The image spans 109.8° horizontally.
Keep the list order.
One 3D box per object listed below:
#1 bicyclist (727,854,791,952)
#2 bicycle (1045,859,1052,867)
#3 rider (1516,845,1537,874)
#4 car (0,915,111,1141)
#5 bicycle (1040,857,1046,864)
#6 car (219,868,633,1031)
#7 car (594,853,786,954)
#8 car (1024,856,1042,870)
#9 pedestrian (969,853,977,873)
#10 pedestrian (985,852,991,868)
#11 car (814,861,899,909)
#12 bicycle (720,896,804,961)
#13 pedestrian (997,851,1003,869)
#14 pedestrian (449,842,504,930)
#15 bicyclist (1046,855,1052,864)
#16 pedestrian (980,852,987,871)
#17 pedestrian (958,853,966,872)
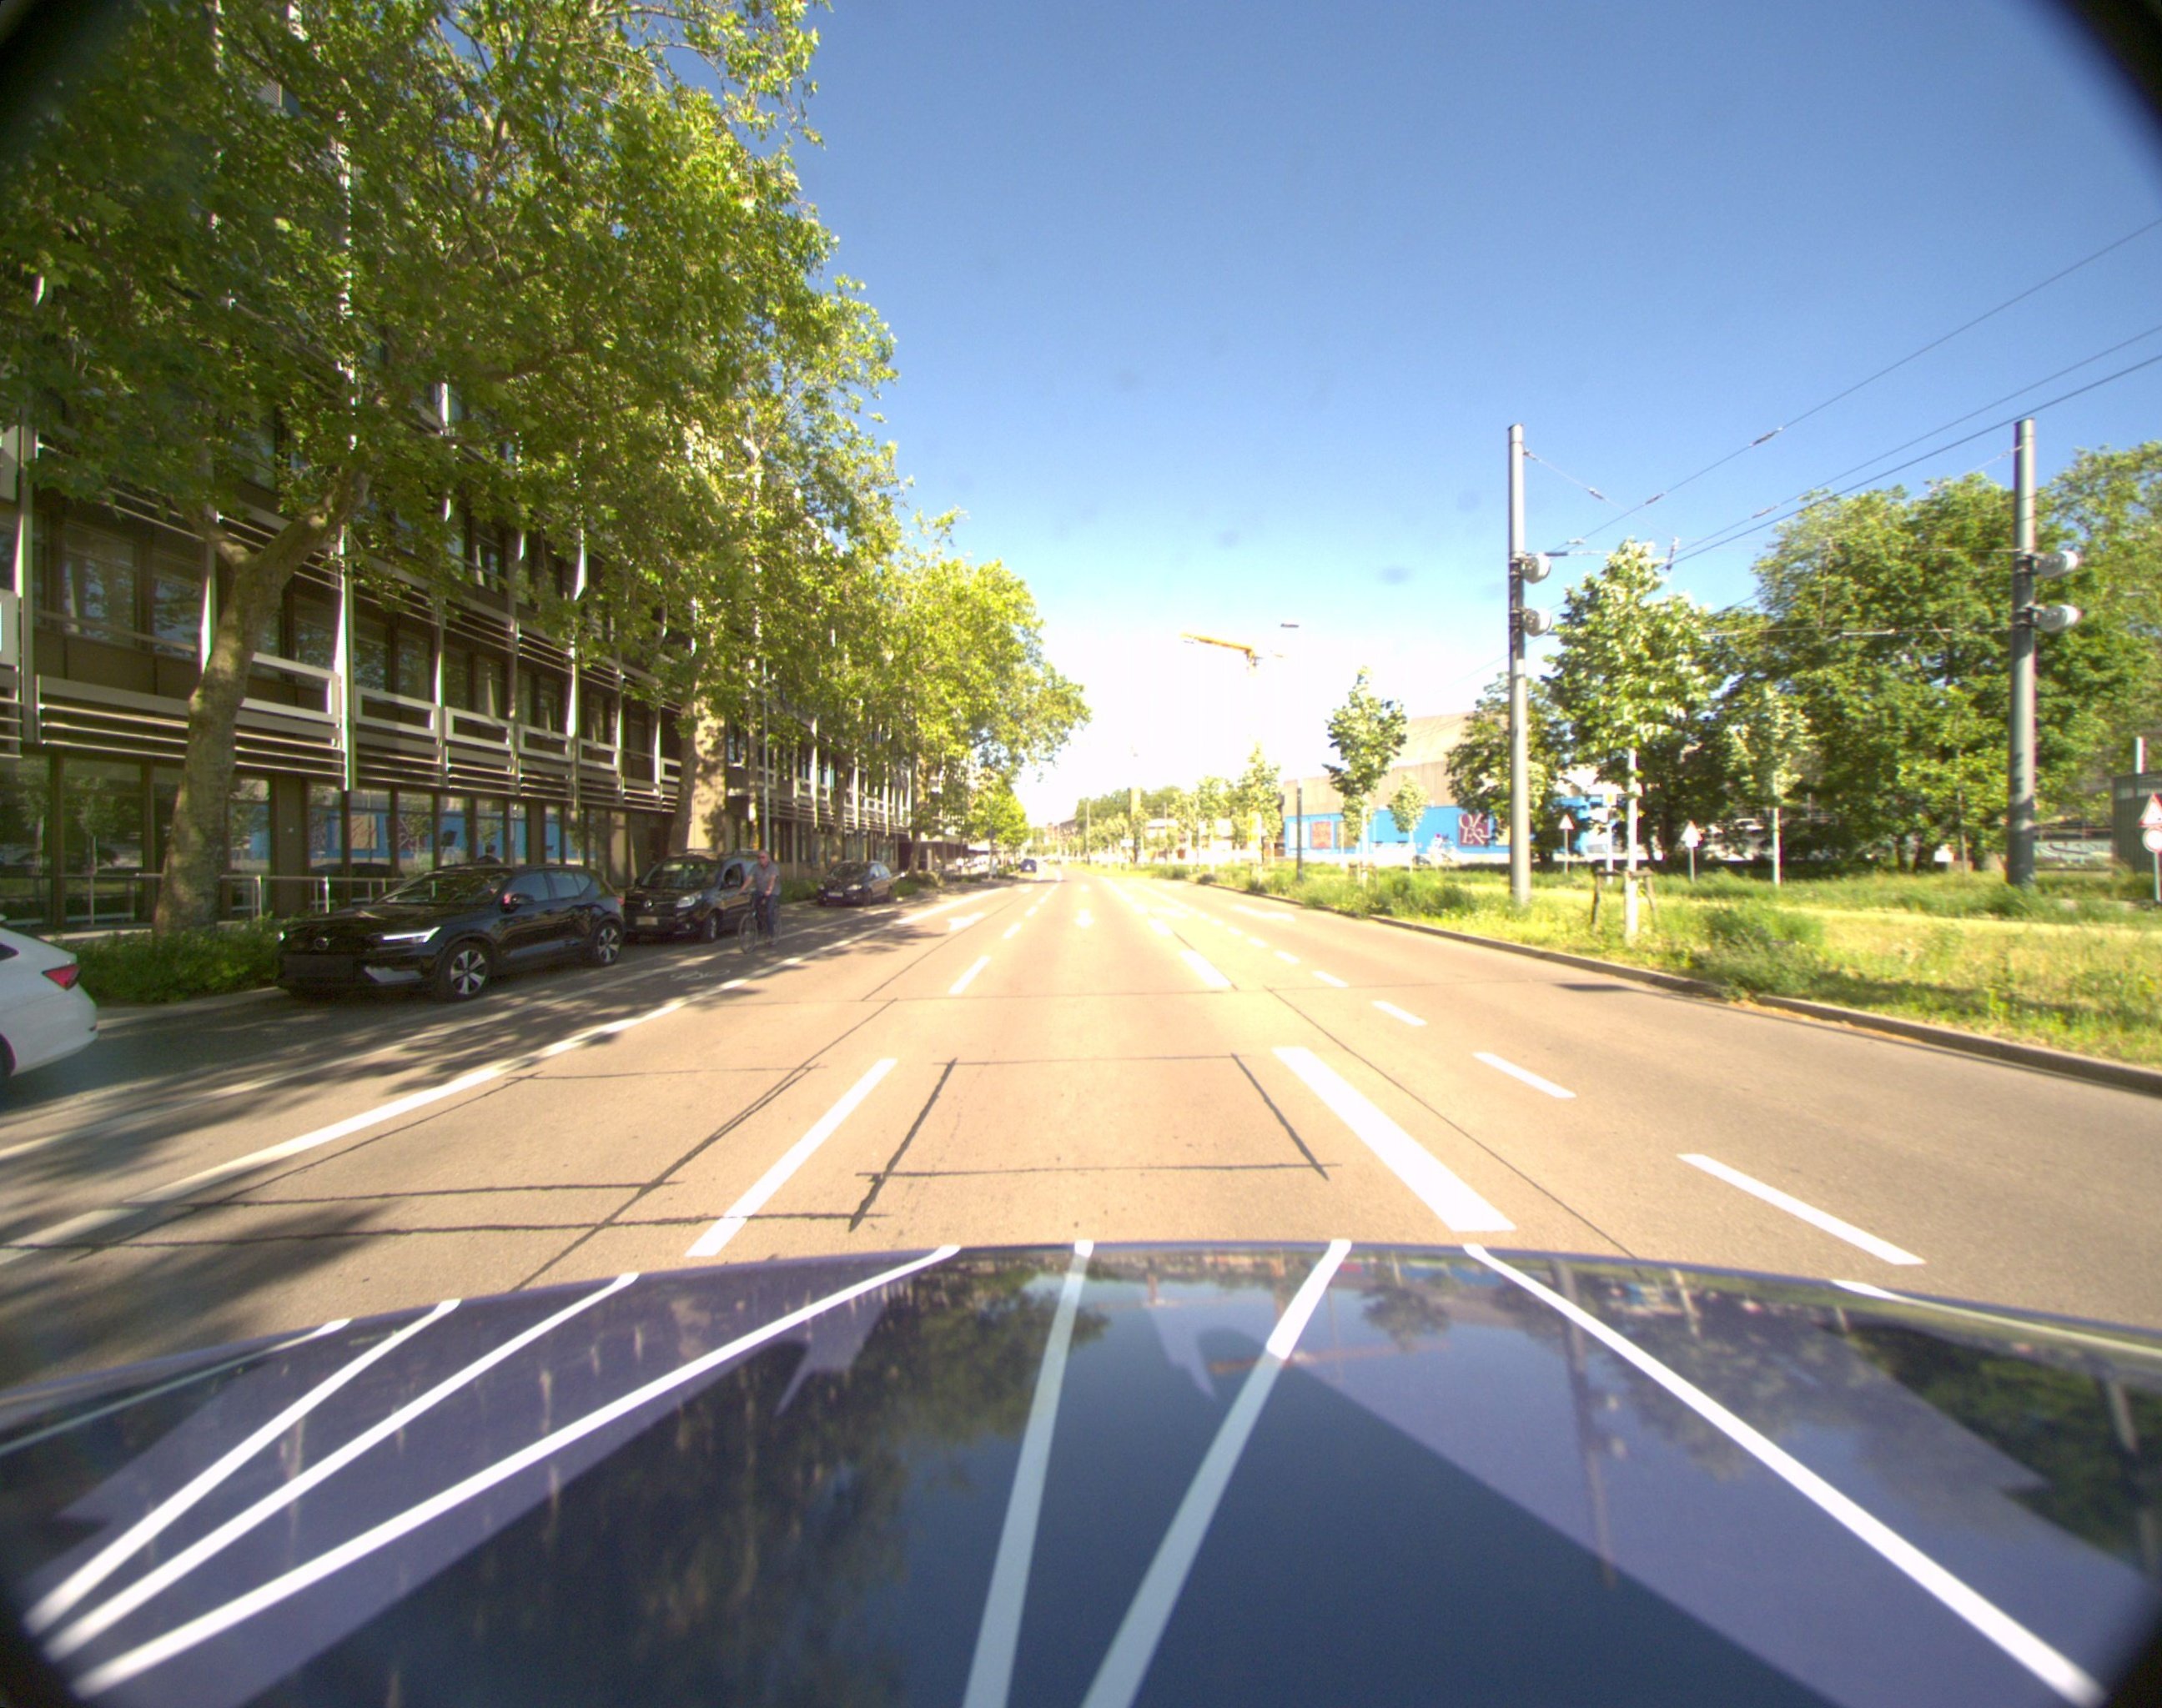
[{"bbox_3d":[-5.773,0.849,13.683,0.711,1.677,0.852,-3,0,-1],"label":"bicyclist"},{"bbox_3d":[-4.727,1.351,111.059,0.845,1.123,2.553,-1,0,1],"label":"bicycle"},{"bbox_3d":[24.138,0.292,41.197,0.724,1.513,0.631,-1,0,-2],"label":"rider"},{"bbox_3d":[-8.215,1.193,3.463,1.752,1.481,4.560,1,0,0],"label":"car"},{"bbox_3d":[-6.628,1.135,132.774,0.845,1.123,2.552,-1,0,-5],"label":"bicycle"},{"bbox_3d":[-8.156,1.040,10.144,1.752,1.624,4.337,1,0,0],"label":"car"},{"bbox_3d":[-7.913,0.898,15.909,1.752,1.810,4.337,1,0,0],"label":"car"},{"bbox_3d":[-5.681,1.041,90.343,1.999,1.597,3.896,-1,0,-1],"label":"car"},{"bbox_3d":[-9.804,0.804,68.881,0.591,1.830,0.696,-1,0,0],"label":"pedestrian"},{"bbox_3d":[-10.097,0.652,82.711,0.591,1.830,0.569,-1,0,0],"label":"pedestrian"},{"bbox_3d":[-7.954,1.047,27.318,1.752,1.545,4.337,1,0,0],"label":"car"},{"bbox_3d":[-5.747,1.309,13.825,0.711,0.987,1.924,-3,-1,-1],"label":"bicycle"},{"bbox_3d":[-8.485,0.618,79.633,0.591,1.830,0.569,-1,0,0],"label":"pedestrian"},{"bbox_3d":[-14.065,0.742,17.699,0.741,2.002,0.626,-1,0,1],"label":"pedestrian"},{"bbox_3d":[-4.726,0.829,111.059,0.830,1.380,0.904,-1,0,1],"label":"bicyclist"},{"bbox_3d":[-9.653,0.726,74.943,0.591,1.830,0.569,-1,0,0],"label":"pedestrian"},{"bbox_3d":[-11.497,0.795,73.489,0.591,1.830,0.697,-1,0,0],"label":"pedestrian"}]
